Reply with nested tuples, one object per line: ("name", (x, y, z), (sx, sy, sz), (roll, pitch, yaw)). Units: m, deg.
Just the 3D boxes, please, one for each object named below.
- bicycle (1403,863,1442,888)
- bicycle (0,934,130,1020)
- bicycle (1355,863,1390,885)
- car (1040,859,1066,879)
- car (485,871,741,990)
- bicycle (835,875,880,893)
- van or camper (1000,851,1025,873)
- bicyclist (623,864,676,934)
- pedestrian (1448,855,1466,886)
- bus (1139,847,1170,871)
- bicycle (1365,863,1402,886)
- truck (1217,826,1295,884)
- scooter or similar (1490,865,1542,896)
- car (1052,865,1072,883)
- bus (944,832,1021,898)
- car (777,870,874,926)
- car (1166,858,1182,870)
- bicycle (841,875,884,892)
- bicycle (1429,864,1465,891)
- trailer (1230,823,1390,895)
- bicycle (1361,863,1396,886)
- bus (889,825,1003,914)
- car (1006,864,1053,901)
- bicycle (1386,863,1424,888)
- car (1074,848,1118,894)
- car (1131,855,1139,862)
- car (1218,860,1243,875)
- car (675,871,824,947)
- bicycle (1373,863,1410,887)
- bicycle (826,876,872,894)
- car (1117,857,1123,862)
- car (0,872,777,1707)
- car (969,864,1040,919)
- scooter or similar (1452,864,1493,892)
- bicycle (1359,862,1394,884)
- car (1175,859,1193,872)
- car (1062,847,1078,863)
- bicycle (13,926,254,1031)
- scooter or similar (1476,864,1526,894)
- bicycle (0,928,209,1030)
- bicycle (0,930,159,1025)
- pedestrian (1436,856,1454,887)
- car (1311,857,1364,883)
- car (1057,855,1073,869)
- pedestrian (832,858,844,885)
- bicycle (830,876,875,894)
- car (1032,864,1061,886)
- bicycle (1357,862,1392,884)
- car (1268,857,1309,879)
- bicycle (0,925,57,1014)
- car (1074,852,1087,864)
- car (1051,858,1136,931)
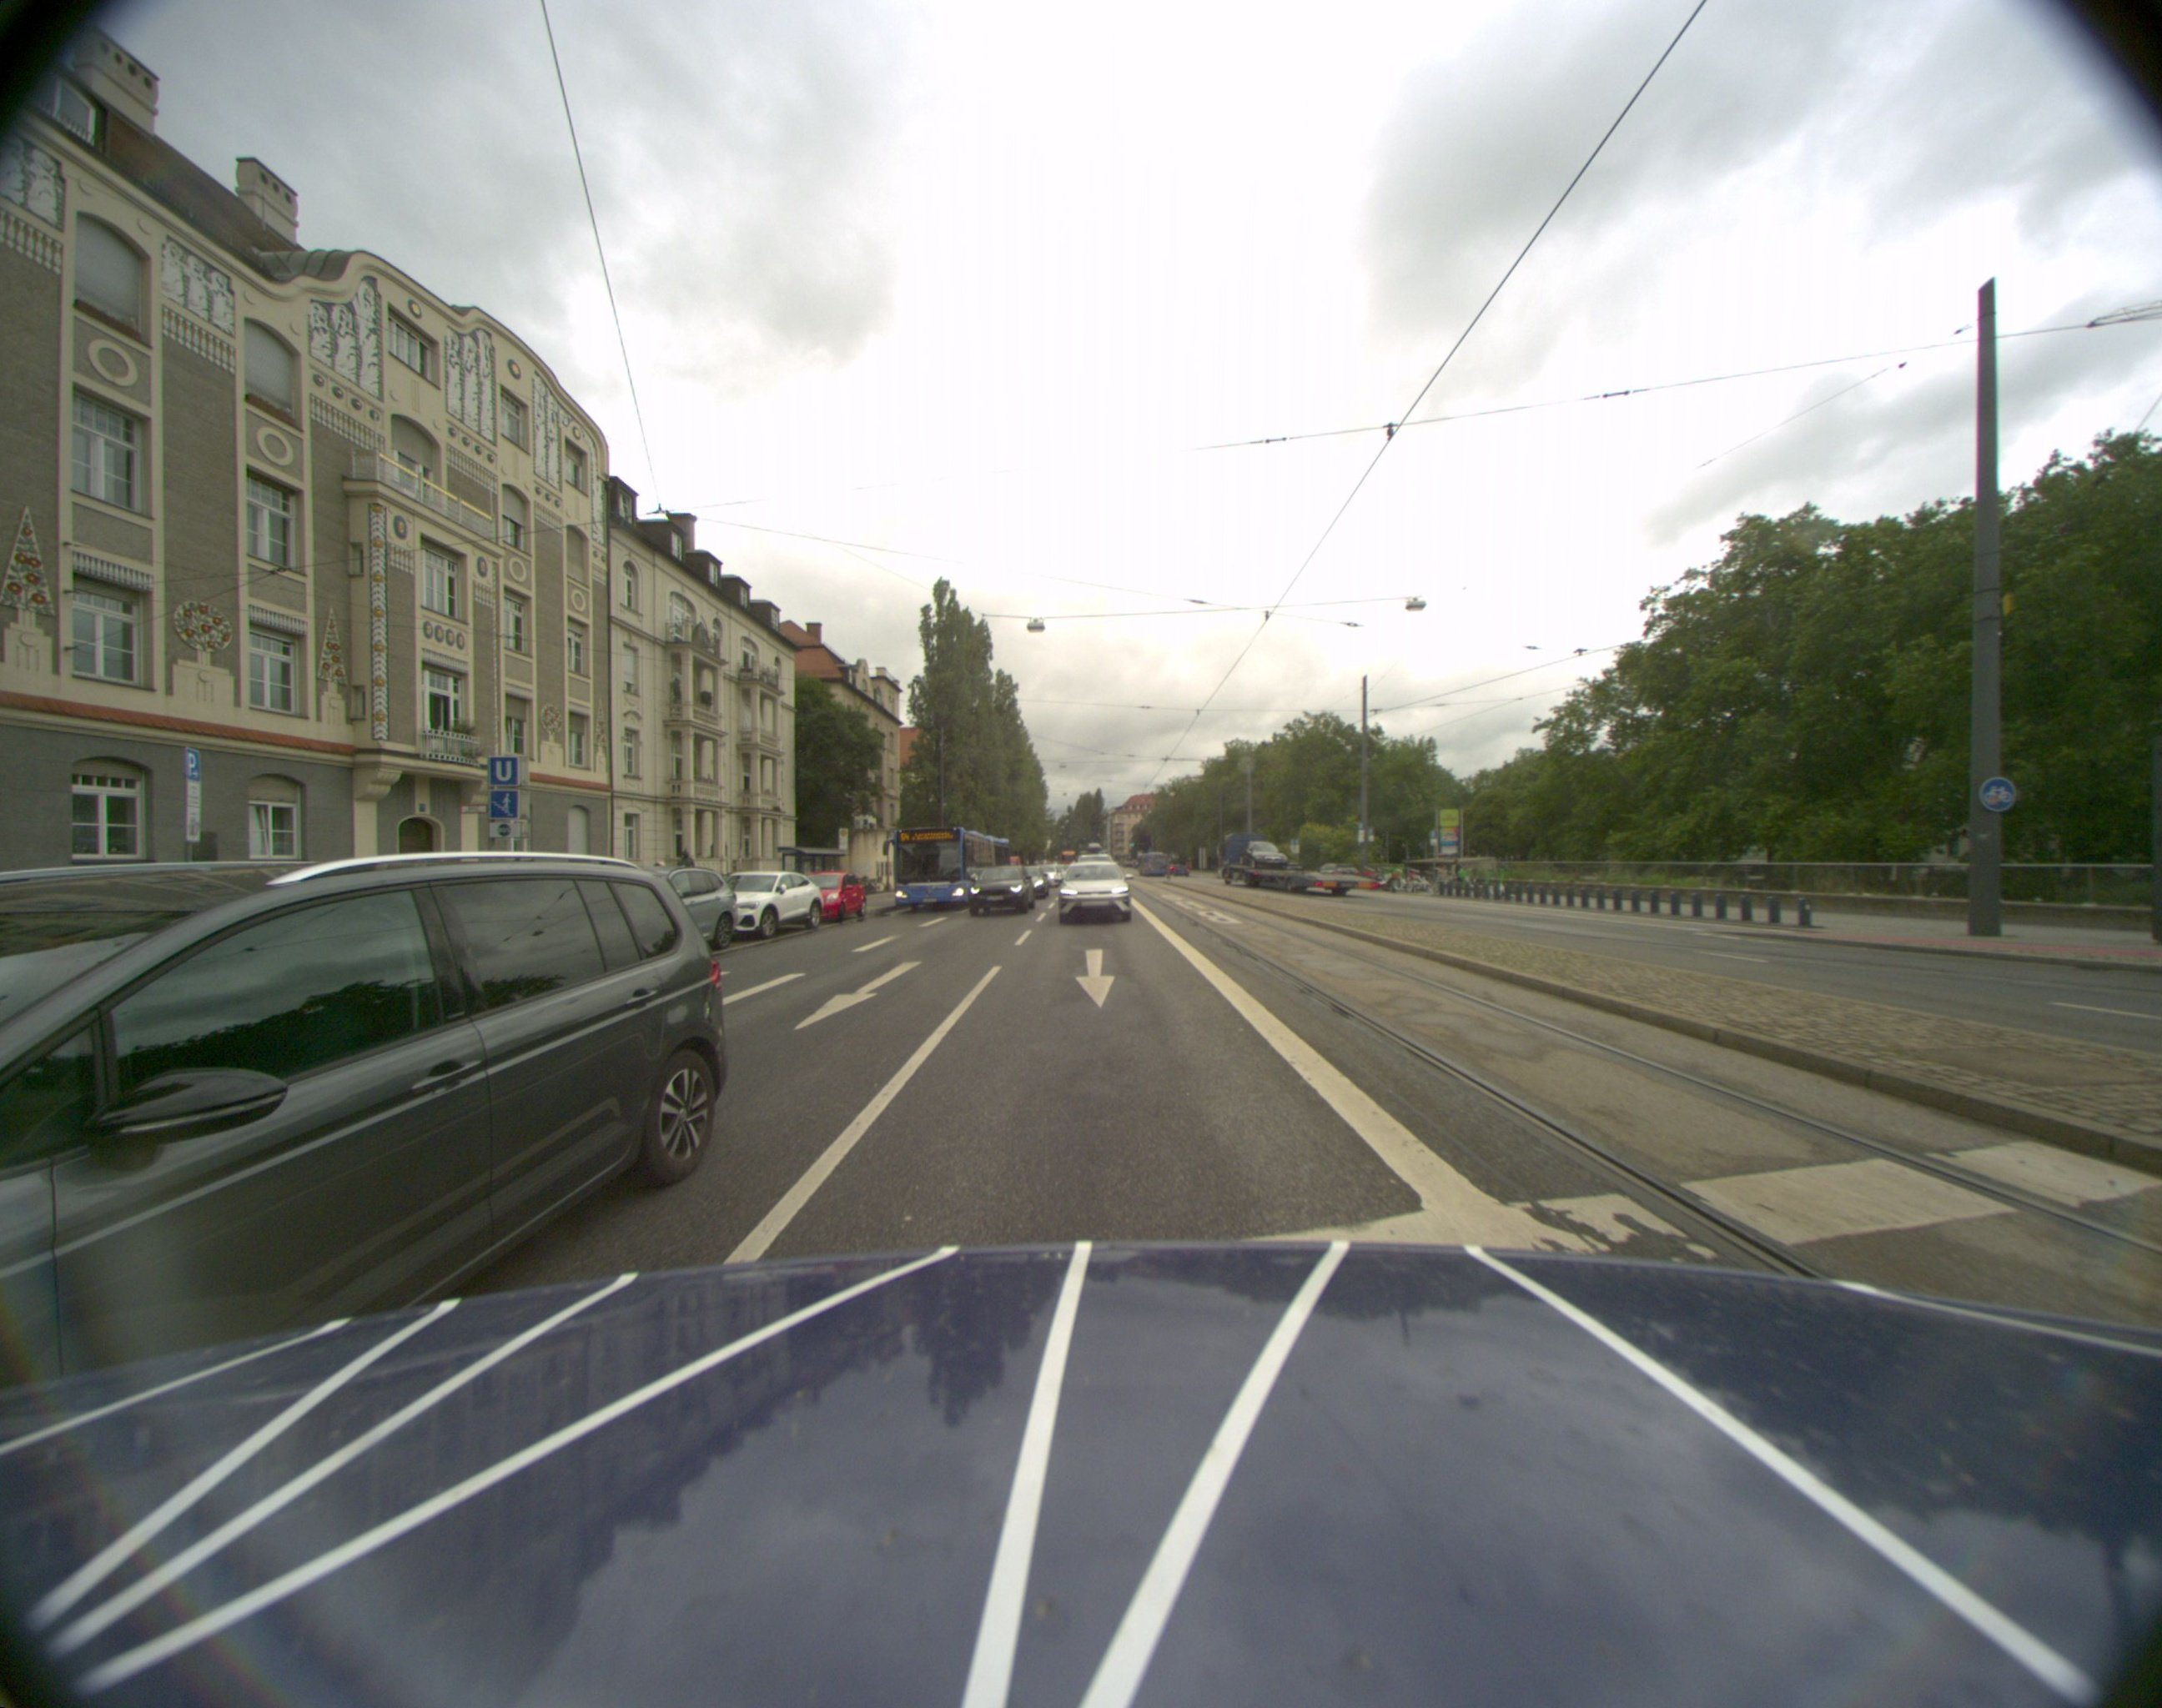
("bicycle", (16.333, 1.033, 36.329), (1.693, 1.165, 0.561), (-1, 0, -9))
("bicycle", (-13.837, 1.627, 9.833), (0.391, 0.972, 1.842), (-1, 1, 28))
("bicycle", (15.526, 1.070, 40.540), (1.693, 1.165, 0.505), (-1, 0, -6))
("car", (-1.932, 1.079, 54.204), (1.704, 1.379, 3.632), (0, -1, 0))
("car", (-7.930, 1.175, 13.489), (1.737, 1.651, 4.502), (0, 0, 0))
("bicycle", (-12.832, 1.733, 43.652), (2.323, 0.916, 0.600), (-2, 1, -2))
("van or camper", (-7.028, 0.799, 78.442), (2.124, 2.086, 5.514), (-1, 0, 0))
("bicyclist", (-10.176, 1.038, 17.959), (0.681, 1.594, 0.939), (-1, 1, 1))
("pedestrian", (18.951, 0.841, 38.288), (0.632, 1.549, 0.589), (0, 0, 0))
("bus", (9.479, 0.644, 99.225), (2.632, 2.949, 13.414), (1, 0, -1))
("bicycle", (15.623, 1.066, 39.256), (1.693, 1.165, 0.561), (-1, 0, -9))
("truck", (10.071, 0.050, 44.518), (2.572, 3.069, 7.689), (1, 0, -1))
("scooter or similar", (16.795, 1.013, 29.338), (1.692, 1.165, 0.562), (-1, 0, -2))
("car", (-1.660, 1.774, 67.818), (1.704, 1.513, 3.632), (0, 0, 0))
("bus", (-4.981, 0.518, 39.910), (2.637, 2.956, 8.534), (-3, 0, 1))
("car", (-7.735, 1.277, 23.352), (1.730, 1.500, 3.742), (0, 0, 0))
("car", (13.262, 1.388, 108.810), (1.809, 1.633, 4.000), (-1, 0, 1))
("bicycle", (-12.810, 1.732, 44.558), (2.323, 0.916, 0.600), (-2, 1, -2))
("bicycle", (16.281, 1.036, 33.792), (1.696, 1.165, 0.560), (-1, 0, -29))
("trailer", (10.233, 0.202, 36.625), (2.617, 2.666, 15.637), (1, 0, -1))
("bicycle", (15.597, 1.067, 39.842), (1.693, 1.165, 0.505), (-1, 0, -7))
("bus", (-5.142, 0.531, 30.933), (2.637, 2.956, 9.466), (-3, 0, 1))
("car", (-2.274, 1.230, 34.285), (1.704, 1.424, 4.245), (-3, 0, 1))
("bicycle", (15.990, 1.049, 37.498), (1.693, 1.165, 0.561), (-1, 0, -9))
("car", (0.731, 0.771, 37.540), (1.998, 2.100, 4.000), (-2, 0, 1))
("car", (13.275, 1.141, 186.108), (1.809, 1.674, 4.000), (-1, 0, 1))
("car", (15.298, 1.352, 77.878), (1.893, 1.521, 4.000), (0, 0, 1))
("car", (-7.856, 1.242, 18.438), (1.730, 1.567, 3.967), (0, 0, 2))
("bicycle", (15.670, 1.064, 38.324), (1.693, 1.165, 0.505), (-1, 0, -9))
("bicycle", (-12.902, 1.737, 42.297), (2.323, 0.916, 0.600), (-2, 1, -2))
("car", (11.359, 1.477, 220.504), (1.628, 1.473, 3.602), (-1, 0, 1))
("car", (-2.837, 0.935, 2.333), (1.776, 1.637, 4.708), (0, 0, 2))
("car", (-2.372, 1.125, 24.503), (1.780, 1.495, 3.970), (-3, 0, 1))
("scooter or similar", (16.846, 1.010, 32.702), (1.695, 1.165, 0.561), (-1, 0, -18))
("bicycle", (15.994, 1.048, 41.176), (1.693, 1.165, 0.505), (-1, 0, -3))
("car", (13.577, 1.503, 100.384), (1.809, 1.633, 4.000), (-1, 0, 1))
("car", (-1.932, 0.214, 138.960), (2.806, 2.835, 5.114), (0, 0, 1))
("bicycle", (-11.994, 1.528, 9.711), (0.445, 1.017, 1.842), (-1, 1, 28))
("scooter or similar", (16.866, 1.010, 30.521), (1.692, 1.165, 0.562), (-1, 0, -2))
("bicycle", (-12.626, 1.557, 9.719), (0.445, 1.017, 1.842), (-1, 1, 28))
("bicycle", (-13.300, 1.589, 9.718), (0.391, 1.017, 1.842), (-1, 1, 28))
("pedestrian", (18.197, 0.878, 38.002), (0.632, 1.549, 0.589), (0, 0, 0))
("car", (15.680, 0.938, 46.672), (1.864, 1.517, 4.233), (0, 0, 1))
("car", (-1.882, 0.925, 89.229), (1.704, 1.513, 3.632), (0, 0, 0))
("pedestrian", (-17.113, 1.239, 53.475), (0.609, 1.885, 0.673), (-1, 1, 3))
("bicycle", (-12.880, 1.736, 42.916), (2.323, 0.916, 0.600), (-2, 1, -2))
("car", (-2.166, 1.319, 48.498), (1.704, 1.360, 3.632), (0, 0, 0))
("bicycle", (16.097, 1.055, 41.697), (1.692, 1.165, 0.562), (-1, 0, -2))
("car", (15.447, 1.019, 56.799), (1.998, 1.561, 4.102), (-1, 0, 1))
("bicycle", (-15.183, 1.603, 10.036), (1.890, 1.147, 0.464), (-2, 1, -41))
("car", (-0.088, 0.796, 153.710), (2.465, 2.178, 5.456), (0, 0, 1))
("car", (0.381, 0.927, 19.591), (1.812, 1.496, 4.953), (-4, 0, 2))
